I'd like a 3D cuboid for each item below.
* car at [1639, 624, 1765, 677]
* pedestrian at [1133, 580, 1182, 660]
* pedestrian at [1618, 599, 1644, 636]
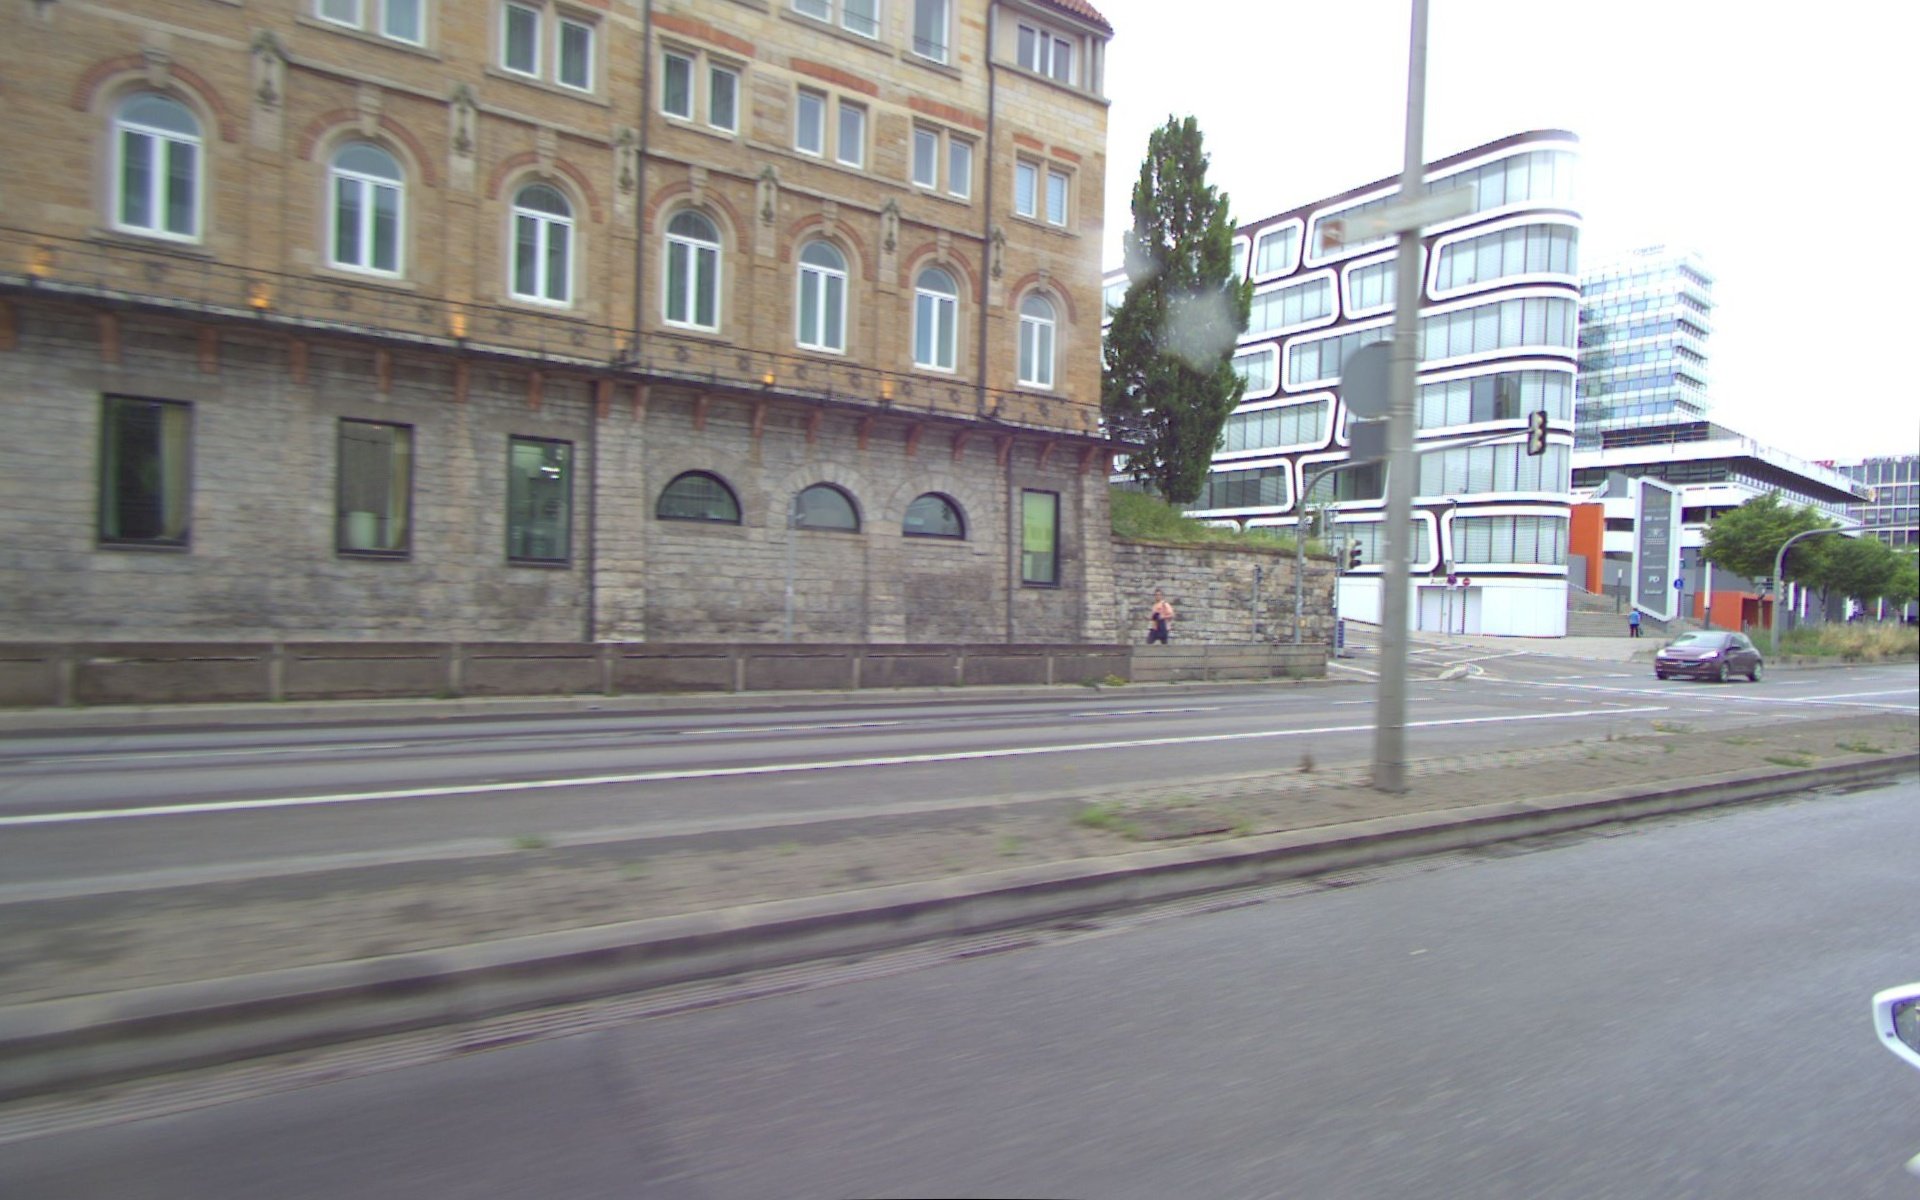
[{"bbox_3d":[21.811,1.435,29.514,3.683,1.426,1.739,1,-1,-32],"label":"car"},{"bbox_3d":[4.750,0.474,24.222,1.040,1.892,0.883,0,0,4],"label":"pedestrian"},{"bbox_3d":[37.703,0.987,56.411,0.707,2.040,1.024,0,0,-31],"label":"pedestrian"}]
